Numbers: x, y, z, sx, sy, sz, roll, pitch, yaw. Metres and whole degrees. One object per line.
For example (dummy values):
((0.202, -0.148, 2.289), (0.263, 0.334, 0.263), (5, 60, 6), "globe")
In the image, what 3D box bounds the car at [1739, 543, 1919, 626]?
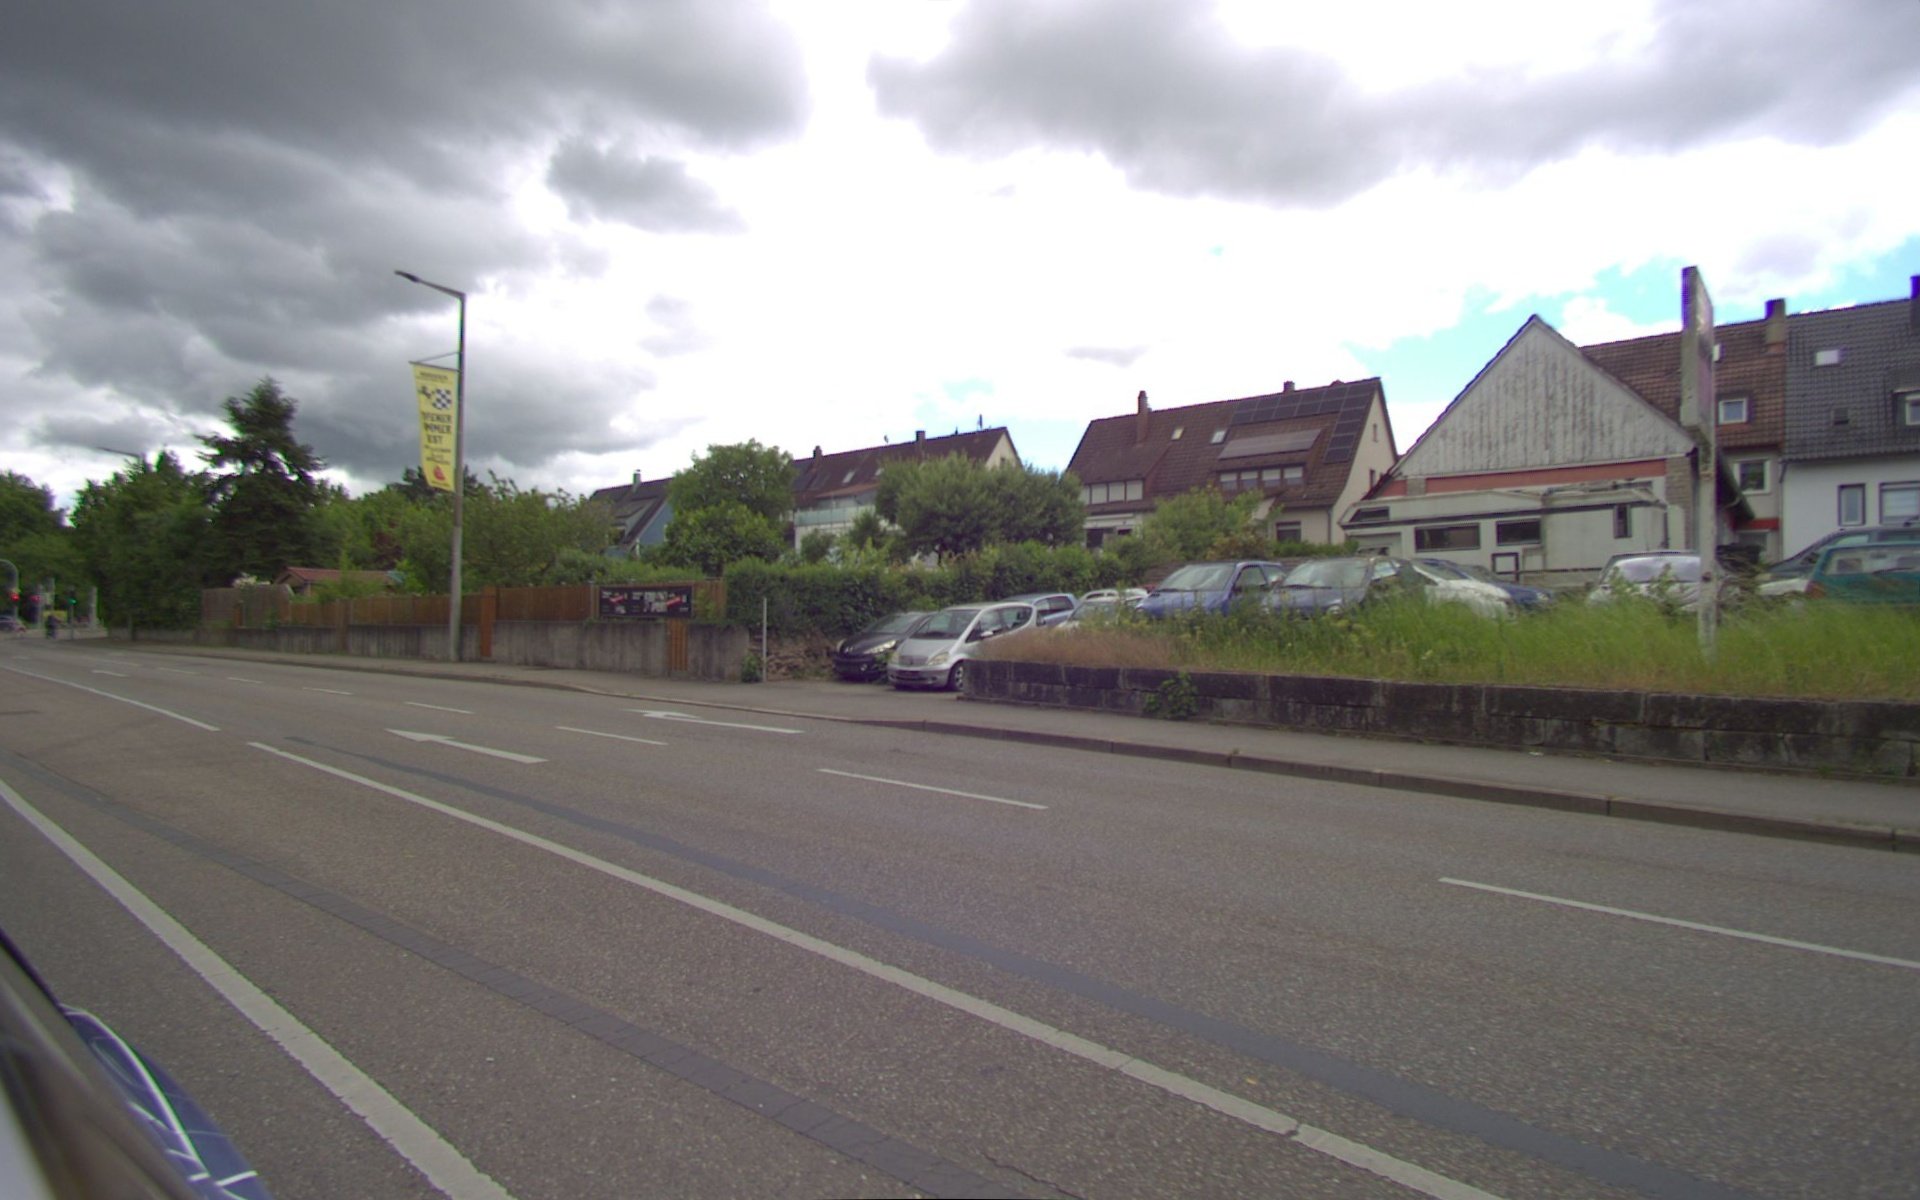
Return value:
((18.114, -0.298, 19.826), (4.399, 1.540, 1.973), (0, 0, 42), "car")

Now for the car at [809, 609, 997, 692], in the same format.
((-1.200, 1.037, 22.542), (2.000, 1.616, 3.945), (0, 0, 42), "car")

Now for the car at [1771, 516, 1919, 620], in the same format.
((19.894, -0.648, 20.980), (4.749, 2.078, 1.860), (0, 0, 42), "car")

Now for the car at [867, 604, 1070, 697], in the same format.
((0.251, 0.916, 20.438), (2.000, 1.629, 3.945), (0, 0, 42), "car")

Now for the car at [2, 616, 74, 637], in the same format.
((-86.644, 2.508, 95.192), (4.668, 1.867, 2.005), (-1, 0, -11), "car")

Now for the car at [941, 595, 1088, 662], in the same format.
((1.492, 0.675, 26.385), (1.774, 1.581, 3.945), (0, 0, 42), "car")

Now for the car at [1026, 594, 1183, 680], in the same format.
((3.547, 0.809, 24.373), (1.881, 1.864, 3.945), (0, 0, 42), "car")

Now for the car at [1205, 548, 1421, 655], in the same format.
((5.441, 0.000, 15.341), (3.941, 1.421, 1.534), (-1, 0, -45), "car")

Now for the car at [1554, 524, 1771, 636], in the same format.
((10.185, -0.258, 14.563), (3.795, 1.389, 1.919), (-1, 0, -45), "car")

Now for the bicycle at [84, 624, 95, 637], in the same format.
((-87.738, 3.025, 101.992), (0.536, 1.262, 1.941), (-1, 0, -32), "bicycle")

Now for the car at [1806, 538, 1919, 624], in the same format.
((15.463, -0.302, 16.824), (3.941, 1.277, 1.798), (-1, 0, -45), "car")

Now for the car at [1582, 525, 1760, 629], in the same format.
((12.748, -0.378, 18.061), (3.941, 1.641, 1.935), (-1, 0, -45), "car")

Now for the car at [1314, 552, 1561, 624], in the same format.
((9.664, -0.223, 20.676), (4.284, 1.328, 1.651), (0, 0, 41), "car")

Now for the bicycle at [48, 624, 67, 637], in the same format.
((-90.259, 3.050, 101.249), (0.537, 1.262, 1.940), (0, 0, -12), "bicycle")

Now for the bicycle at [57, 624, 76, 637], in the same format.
((-89.427, 3.043, 101.275), (0.537, 1.262, 1.940), (0, 0, -12), "bicycle")

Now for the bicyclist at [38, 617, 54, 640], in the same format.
((-62.592, 1.960, 69.275), (0.977, 1.546, 0.636), (-1, 0, 36), "bicyclist")

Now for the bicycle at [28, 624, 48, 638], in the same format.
((-91.681, 3.066, 100.651), (0.537, 1.262, 1.940), (0, 0, -12), "bicycle")

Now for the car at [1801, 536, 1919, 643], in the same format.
((12.643, -0.143, 13.626), (1.886, 1.278, 3.889), (0, 0, 42), "car")

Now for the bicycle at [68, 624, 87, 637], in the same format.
((-88.564, 3.034, 101.574), (0.537, 1.262, 1.940), (0, 0, -12), "bicycle")

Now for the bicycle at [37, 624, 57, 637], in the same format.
((-91.048, 3.059, 100.936), (0.537, 1.262, 1.940), (-1, 0, -12), "bicycle")

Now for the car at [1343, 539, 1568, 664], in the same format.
((7.041, 0.001, 14.200), (3.941, 1.503, 1.648), (-1, 0, -45), "car")

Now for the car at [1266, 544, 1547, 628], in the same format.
((8.080, -0.183, 18.519), (4.396, 1.352, 1.829), (-1, -1, 39), "car")

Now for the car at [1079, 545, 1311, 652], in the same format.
((3.886, -0.041, 16.399), (3.941, 1.508, 1.860), (-1, 0, -45), "car")

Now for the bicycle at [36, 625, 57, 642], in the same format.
((-62.478, 2.293, 69.211), (2.144, 1.154, 0.636), (-1, 0, 37), "bicycle")

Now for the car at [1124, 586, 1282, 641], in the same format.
((7.185, 0.360, 30.285), (1.967, 1.522, 4.412), (-1, 0, -35), "car")

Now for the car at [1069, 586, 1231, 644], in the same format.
((5.266, 0.386, 28.587), (1.900, 1.508, 4.411), (-1, 0, -36), "car")
